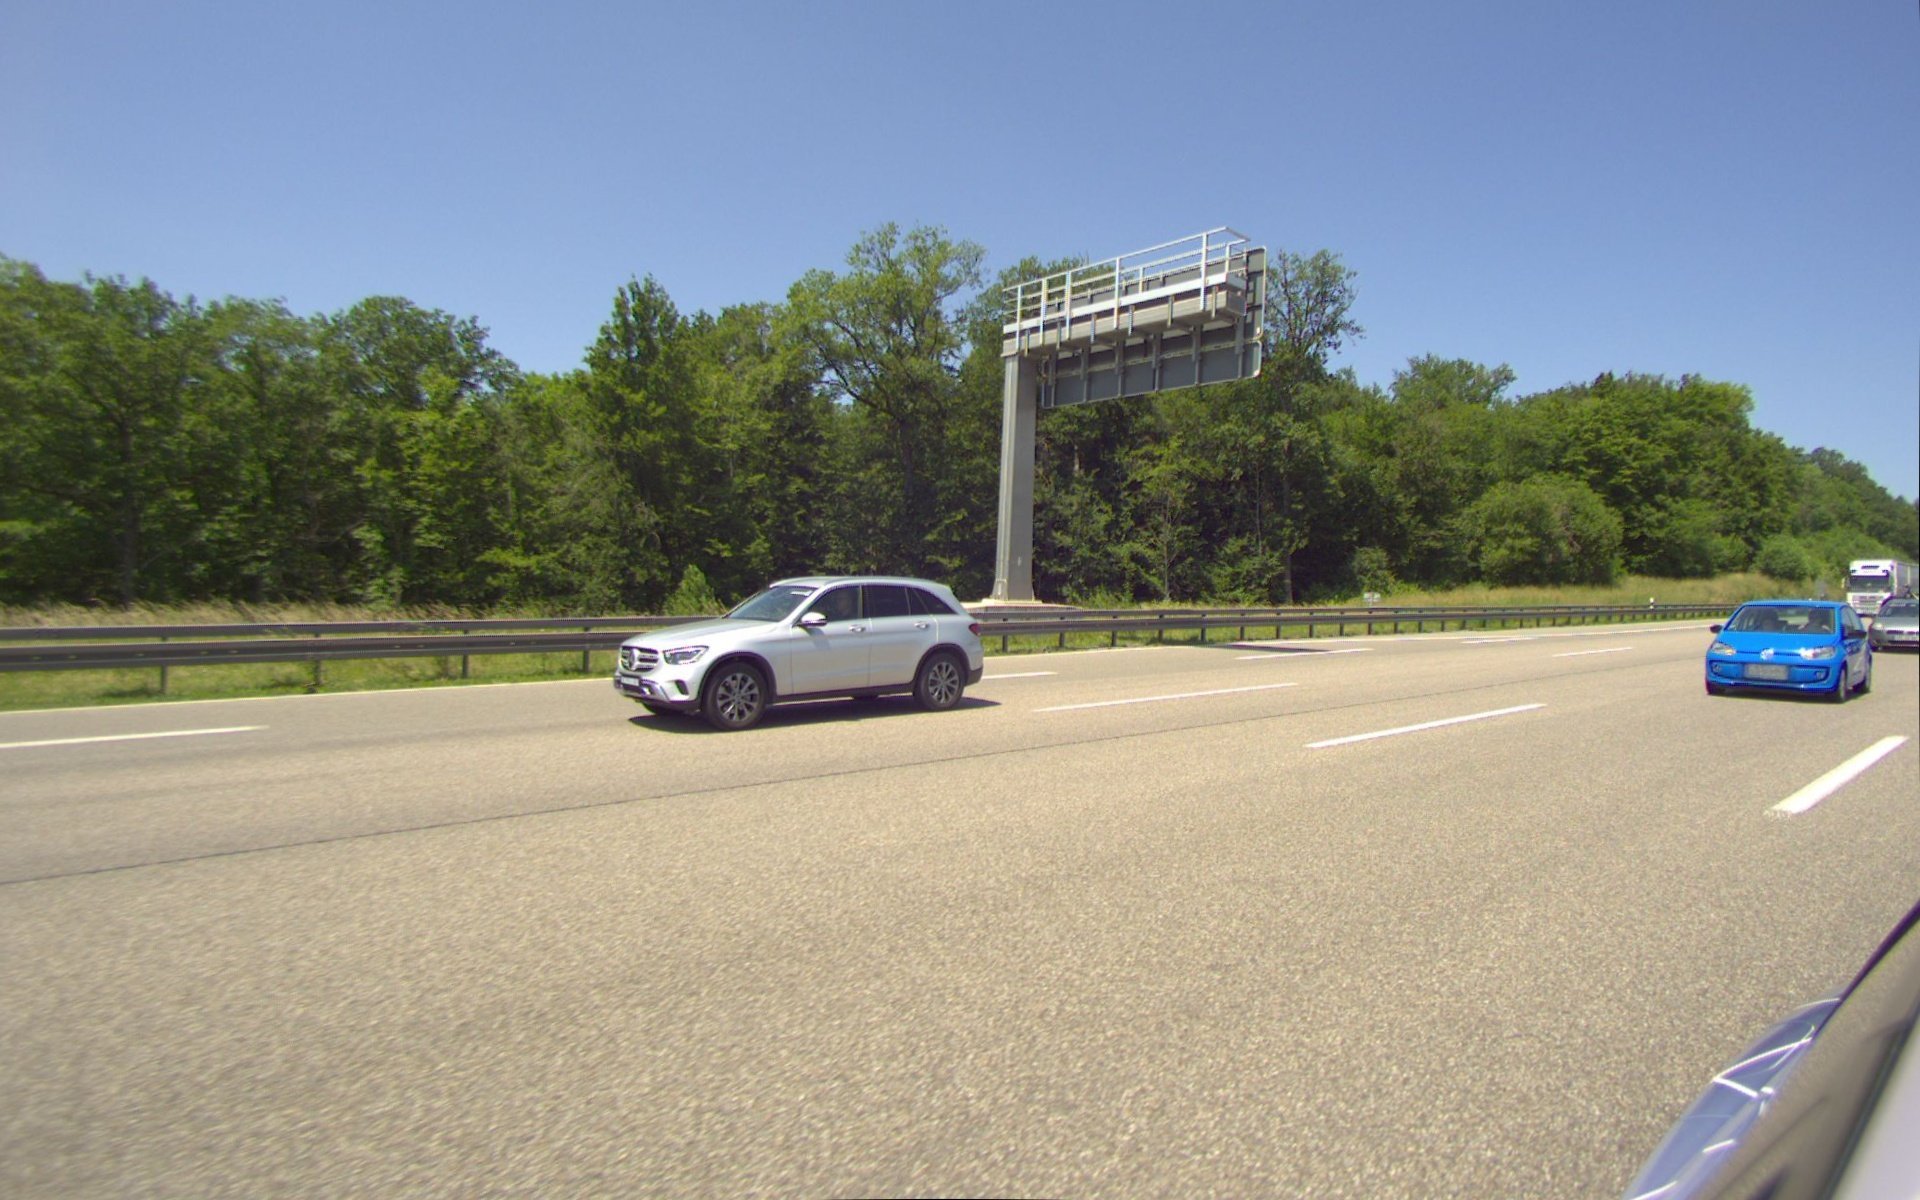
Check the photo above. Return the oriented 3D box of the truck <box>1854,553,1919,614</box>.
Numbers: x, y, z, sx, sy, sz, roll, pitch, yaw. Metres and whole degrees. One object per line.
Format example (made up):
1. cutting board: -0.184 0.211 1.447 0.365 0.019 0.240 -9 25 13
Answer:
1. truck: 68.341 -1.109 74.229 10.775 4.213 2.727 1 0 -41

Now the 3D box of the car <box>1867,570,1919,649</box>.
1. car: 26.891 0.254 28.084 4.699 2.079 1.965 1 0 -41

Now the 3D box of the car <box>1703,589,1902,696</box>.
1. car: 13.251 0.578 15.847 3.930 1.428 1.741 0 2 -41

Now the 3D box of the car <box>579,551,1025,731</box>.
1. car: -1.680 0.418 12.208 5.147 1.753 1.804 1 0 -41

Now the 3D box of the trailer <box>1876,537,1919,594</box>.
1. trailer: 74.370 -2.621 79.460 8.234 4.121 2.584 1 0 -41
